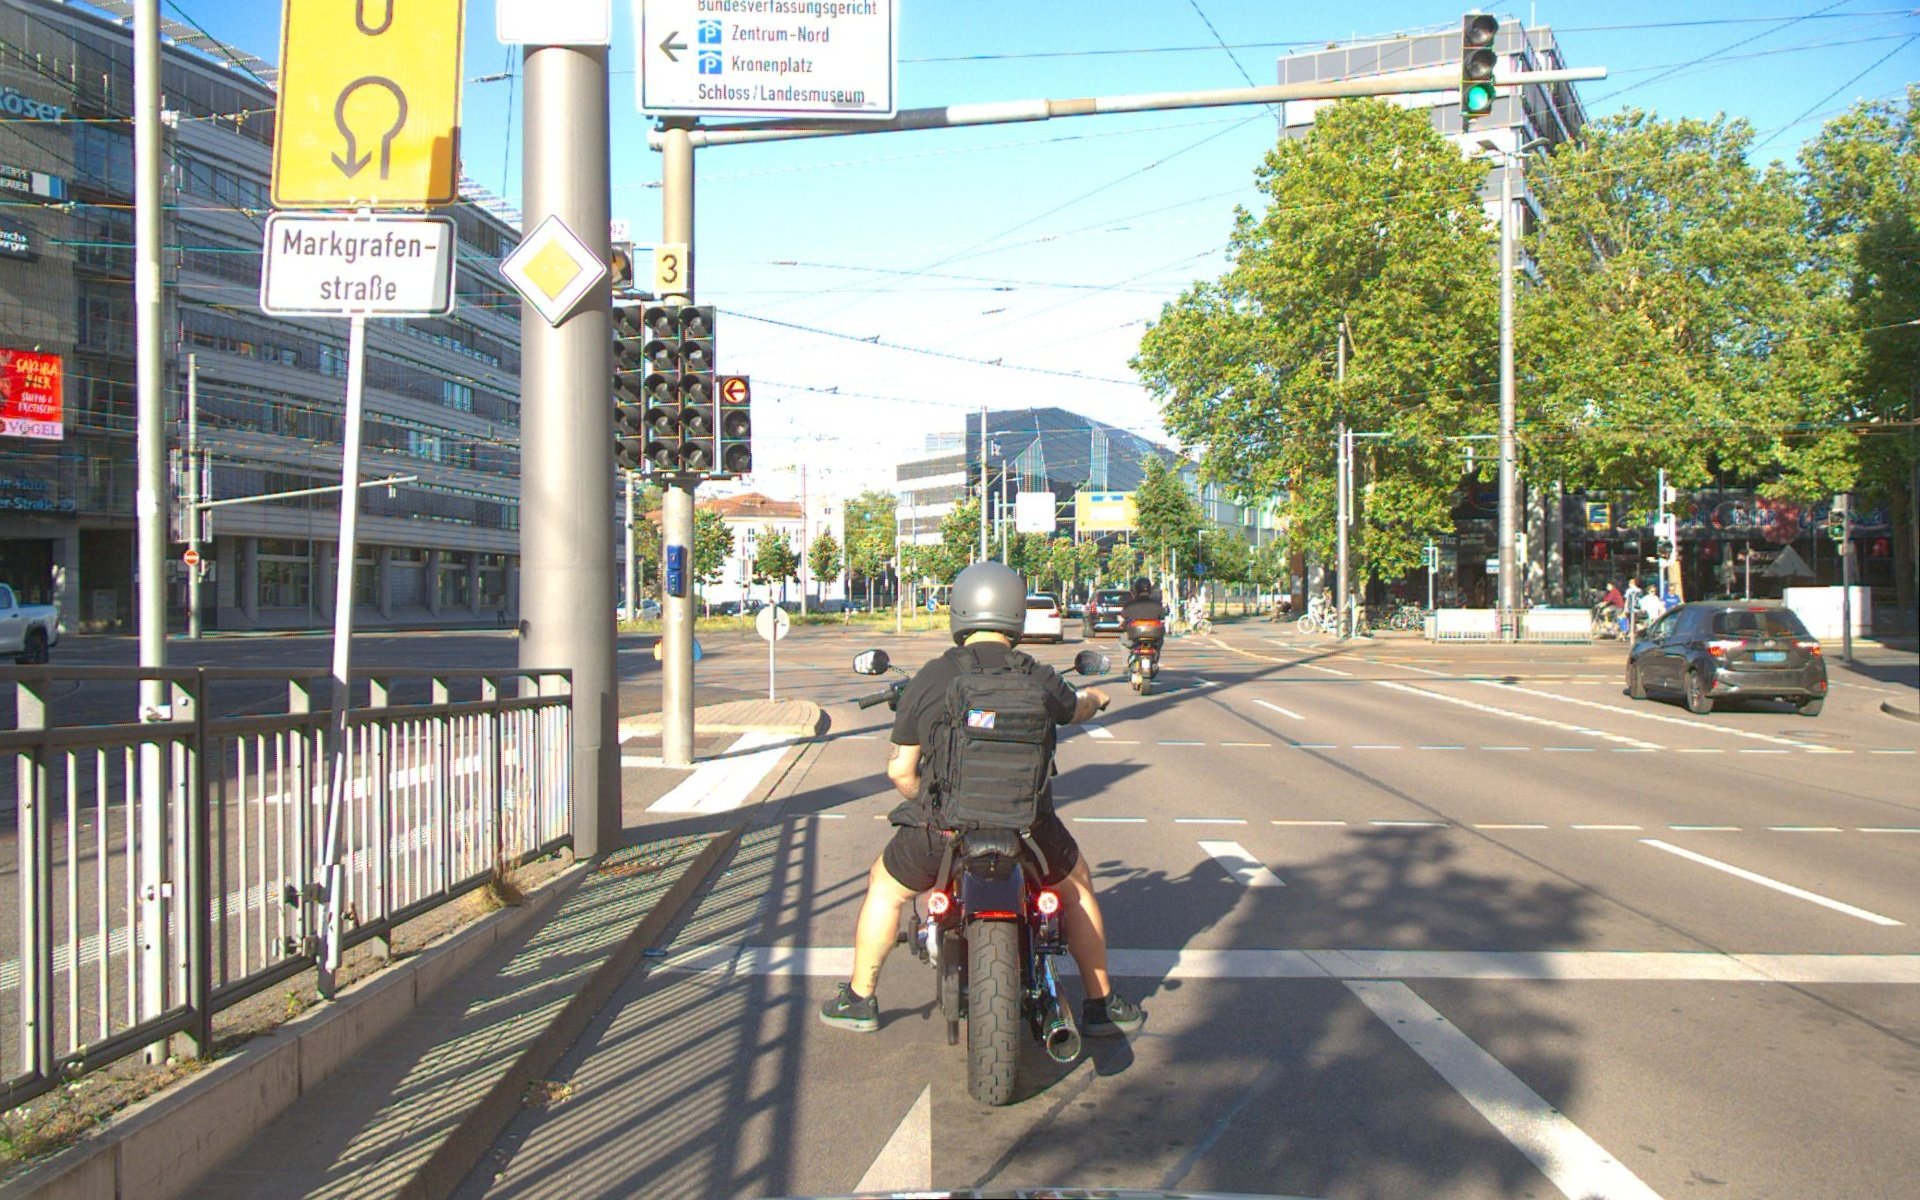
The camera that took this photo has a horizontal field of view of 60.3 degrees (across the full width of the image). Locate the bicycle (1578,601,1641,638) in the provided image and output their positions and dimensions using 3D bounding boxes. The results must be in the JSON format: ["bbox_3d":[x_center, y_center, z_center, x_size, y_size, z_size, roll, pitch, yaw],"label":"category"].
[{"bbox_3d":[22.345,0.679,56.912,2.001,1.235,0.421,1,-1,-1],"label":"bicycle"}]

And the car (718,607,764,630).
[{"bbox_3d":[-14.596,1.244,110.538,1.786,1.455,4.244,1,-1,11],"label":"car"}]

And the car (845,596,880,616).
[{"bbox_3d":[-7.771,0.478,131.643,1.712,1.550,4.003,1,-1,13],"label":"car"}]

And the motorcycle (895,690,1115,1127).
[{"bbox_3d":[0.108,0.909,5.654,0.588,1.054,2.233,1,0,-1],"label":"motorcycle"}]

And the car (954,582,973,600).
[{"bbox_3d":[0.463,-1.108,205.082,1.951,2.049,4.303,1,-1,5],"label":"car"}]

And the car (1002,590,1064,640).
[{"bbox_3d":[2.272,0.471,52.546,1.696,1.482,4.417,1,-1,-1],"label":"car"}]

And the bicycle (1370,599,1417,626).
[{"bbox_3d":[18.149,0.529,69.261,1.842,1.064,0.360,1,0,-2],"label":"bicycle"}]

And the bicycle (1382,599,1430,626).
[{"bbox_3d":[18.221,0.516,67.588,1.842,1.065,0.360,1,-1,-2],"label":"bicycle"}]

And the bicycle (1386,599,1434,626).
[{"bbox_3d":[18.167,0.494,66.772,1.842,1.065,0.360,1,-1,-2],"label":"bicycle"}]

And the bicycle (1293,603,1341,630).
[{"bbox_3d":[14.154,0.667,65.524,1.831,1.062,0.537,0,-1,18],"label":"bicycle"}]

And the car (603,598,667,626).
[{"bbox_3d":[-17.669,0.626,90.069,1.786,1.455,4.534,0,0,12],"label":"car"}]

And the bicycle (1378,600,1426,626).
[{"bbox_3d":[18.212,0.533,68.145,1.842,1.064,0.360,1,0,-2],"label":"bicycle"}]

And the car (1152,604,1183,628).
[{"bbox_3d":[15.692,1.228,124.907,1.765,1.708,4.043,1,-1,15],"label":"car"}]

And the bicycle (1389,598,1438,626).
[{"bbox_3d":[18.104,0.473,65.988,1.842,1.065,0.360,1,-1,-2],"label":"bicycle"}]

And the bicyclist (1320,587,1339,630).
[{"bbox_3d":[14.594,0.345,65.392,0.673,1.702,0.541,0,-1,18],"label":"bicyclist"}]

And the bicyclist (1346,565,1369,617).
[{"bbox_3d":[14.372,-0.321,59.848,0.682,1.840,0.729,1,-1,3],"label":"bicyclist"}]

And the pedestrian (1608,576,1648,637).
[{"bbox_3d":[19.092,0.189,47.302,0.816,1.734,0.759,1,-1,-1],"label":"pedestrian"}]

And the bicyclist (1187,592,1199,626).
[{"bbox_3d":[9.495,0.360,67.291,0.374,1.397,0.344,1,-1,-9],"label":"bicyclist"}]

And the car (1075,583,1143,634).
[{"bbox_3d":[5.445,0.287,61.050,1.698,1.762,4.607,1,1,-5],"label":"car"}]

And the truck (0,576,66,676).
[{"bbox_3d":[-19.396,0.549,31.860,1.955,1.912,5.148,-2,-1,-6],"label":"truck"}]

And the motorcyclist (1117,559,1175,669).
[{"bbox_3d":[2.790,0.210,24.793,0.780,1.607,0.529,1,-1,-2],"label":"motorcyclist"}]

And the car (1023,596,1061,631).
[{"bbox_3d":[4.079,0.680,82.650,1.766,1.708,4.042,1,-1,2],"label":"car"}]

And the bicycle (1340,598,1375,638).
[{"bbox_3d":[14.359,0.663,59.810,0.710,1.391,2.918,1,-1,3],"label":"bicycle"}]

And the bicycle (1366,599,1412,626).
[{"bbox_3d":[18.094,0.526,69.759,1.842,1.064,0.360,1,0,-2],"label":"bicycle"}]

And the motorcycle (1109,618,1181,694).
[{"bbox_3d":[2.775,0.818,25.020,0.787,1.069,2.375,1,-1,-1],"label":"motorcycle"}]

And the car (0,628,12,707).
[{"bbox_3d":[-14.578,0.903,22.398,2.835,1.081,1.235,1,-1,-22],"label":"car"}]

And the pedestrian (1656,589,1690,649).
[{"bbox_3d":[18.200,0.483,42.241,0.554,1.505,0.702,1,-1,-1],"label":"pedestrian"}]

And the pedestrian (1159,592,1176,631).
[{"bbox_3d":[8.625,0.481,68.614,0.576,1.584,0.488,1,-1,-9],"label":"pedestrian"}]

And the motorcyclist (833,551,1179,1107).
[{"bbox_3d":[0.130,0.667,5.285,1.009,1.621,0.873,0,0,-1],"label":"motorcyclist"}]

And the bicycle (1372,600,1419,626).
[{"bbox_3d":[18.093,0.536,68.773,1.842,1.065,0.360,1,-1,-2],"label":"bicycle"}]

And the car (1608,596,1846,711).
[{"bbox_3d":[10.894,0.701,23.808,1.695,1.475,4.042,1,0,3],"label":"car"}]

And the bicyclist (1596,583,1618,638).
[{"bbox_3d":[22.254,0.364,56.920,0.572,1.870,0.402,1,-1,-1],"label":"bicyclist"}]

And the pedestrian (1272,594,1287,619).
[{"bbox_3d":[17.583,0.364,90.993,0.802,1.337,0.638,1,-1,8],"label":"pedestrian"}]

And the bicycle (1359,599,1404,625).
[{"bbox_3d":[18.062,0.527,70.910,1.842,1.064,0.360,1,0,-2],"label":"bicycle"}]

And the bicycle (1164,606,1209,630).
[{"bbox_3d":[9.216,0.721,67.238,1.792,0.942,0.357,1,-1,-9],"label":"bicycle"}]

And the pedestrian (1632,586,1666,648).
[{"bbox_3d":[17.564,0.431,42.166,0.554,1.559,0.702,1,-1,-3],"label":"pedestrian"}]
